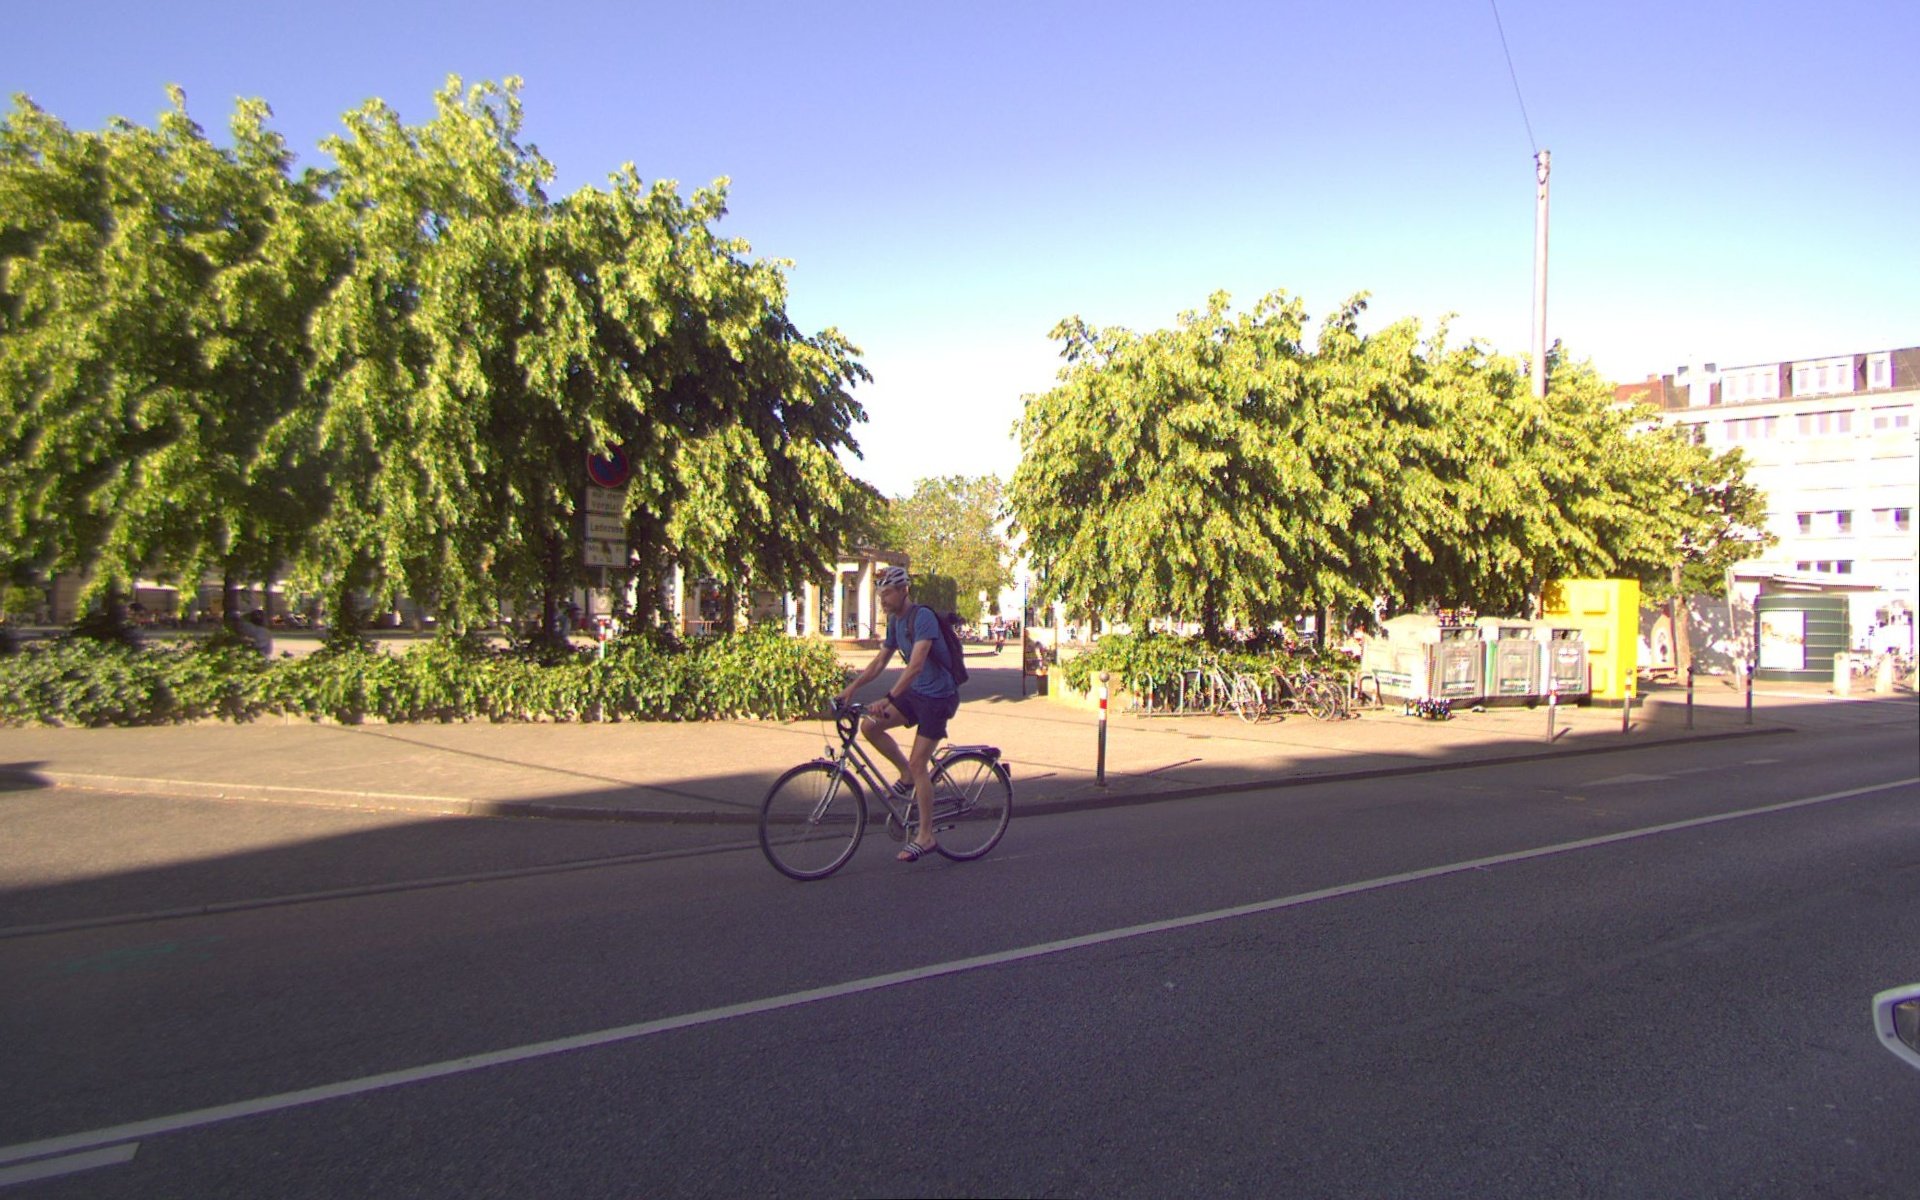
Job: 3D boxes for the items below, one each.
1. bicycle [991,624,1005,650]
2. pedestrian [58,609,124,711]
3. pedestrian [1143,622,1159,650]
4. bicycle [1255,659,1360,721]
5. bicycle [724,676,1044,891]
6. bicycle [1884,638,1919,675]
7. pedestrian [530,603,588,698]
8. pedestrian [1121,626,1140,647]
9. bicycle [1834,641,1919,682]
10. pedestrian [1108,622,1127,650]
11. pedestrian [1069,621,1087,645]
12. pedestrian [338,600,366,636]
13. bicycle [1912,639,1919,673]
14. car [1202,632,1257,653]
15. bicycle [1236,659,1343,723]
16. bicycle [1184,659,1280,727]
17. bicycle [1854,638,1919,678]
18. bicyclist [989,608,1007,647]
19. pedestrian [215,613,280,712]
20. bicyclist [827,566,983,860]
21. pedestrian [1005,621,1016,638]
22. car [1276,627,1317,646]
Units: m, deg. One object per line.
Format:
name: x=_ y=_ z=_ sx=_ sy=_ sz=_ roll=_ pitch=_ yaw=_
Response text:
bicycle: x=1.783 y=1.710 z=46.773 sx=0.593 sy=1.116 sz=1.990 roll=2 pitch=0 yaw=3
pedestrian: x=-12.855 y=0.870 z=14.880 sx=0.615 sy=1.456 sz=0.647 roll=2 pitch=0 yaw=-32
pedestrian: x=10.758 y=2.035 z=56.657 sx=0.761 sy=1.541 sz=0.838 roll=2 pitch=0 yaw=6
bicycle: x=5.677 y=1.453 z=16.476 sx=0.465 sy=0.870 sz=1.654 roll=2 pitch=0 yaw=-35
bicycle: x=-0.455 y=1.087 z=6.365 sx=1.931 sy=1.177 sz=0.614 roll=2 pitch=-3 yaw=-25
bicycle: x=35.266 y=2.083 z=36.128 sx=0.932 sy=1.287 sz=2.859 roll=2 pitch=0 yaw=-32
pedestrian: x=-6.764 y=0.841 z=16.935 sx=0.688 sy=1.541 sz=0.676 roll=2 pitch=0 yaw=-41
pedestrian: x=10.284 y=2.195 z=60.541 sx=0.883 sy=1.230 sz=0.866 roll=2 pitch=0 yaw=-4
bicycle: x=31.225 y=2.063 z=33.759 sx=0.932 sy=1.211 sz=2.645 roll=2 pitch=0 yaw=-32
pedestrian: x=9.003 y=2.070 z=57.357 sx=0.904 sy=1.541 sz=0.936 roll=2 pitch=0 yaw=15
pedestrian: x=9.505 y=2.630 z=80.965 sx=1.274 sy=1.867 sz=1.103 roll=2 pitch=0 yaw=15
pedestrian: x=-26.787 y=0.789 z=44.277 sx=0.680 sy=1.550 sz=0.741 roll=2 pitch=0 yaw=16
bicycle: x=37.250 y=2.155 z=37.272 sx=0.932 sy=1.276 sz=2.648 roll=2 pitch=0 yaw=-32
car: x=21.957 y=3.456 z=81.975 sx=4.061 sy=1.550 sz=1.548 roll=1 pitch=-1 yaw=31
bicycle: x=5.278 y=1.442 z=16.181 sx=0.465 sy=0.870 sz=1.659 roll=2 pitch=0 yaw=-35
bicycle: x=4.178 y=1.410 z=15.522 sx=0.464 sy=0.897 sz=1.558 roll=2 pitch=0 yaw=-29
bicycle: x=33.147 y=2.039 z=35.062 sx=0.923 sy=1.291 sz=2.764 roll=2 pitch=0 yaw=-32
bicyclist: x=1.781 y=1.267 z=46.542 sx=0.773 sy=1.722 sz=0.896 roll=2 pitch=0 yaw=3
pedestrian: x=-10.847 y=0.933 z=15.297 sx=0.581 sy=1.456 sz=0.615 roll=2 pitch=0 yaw=33
bicyclist: x=-0.362 y=0.688 z=6.420 sx=0.798 sy=1.732 sz=0.700 roll=2 pitch=-3 yaw=-22
pedestrian: x=5.606 y=3.328 z=111.642 sx=0.891 sy=1.845 sz=0.952 roll=2 pitch=0 yaw=17
car: x=25.406 y=2.765 z=75.869 sx=2.707 sy=1.283 sz=1.241 roll=2 pitch=0 yaw=31
